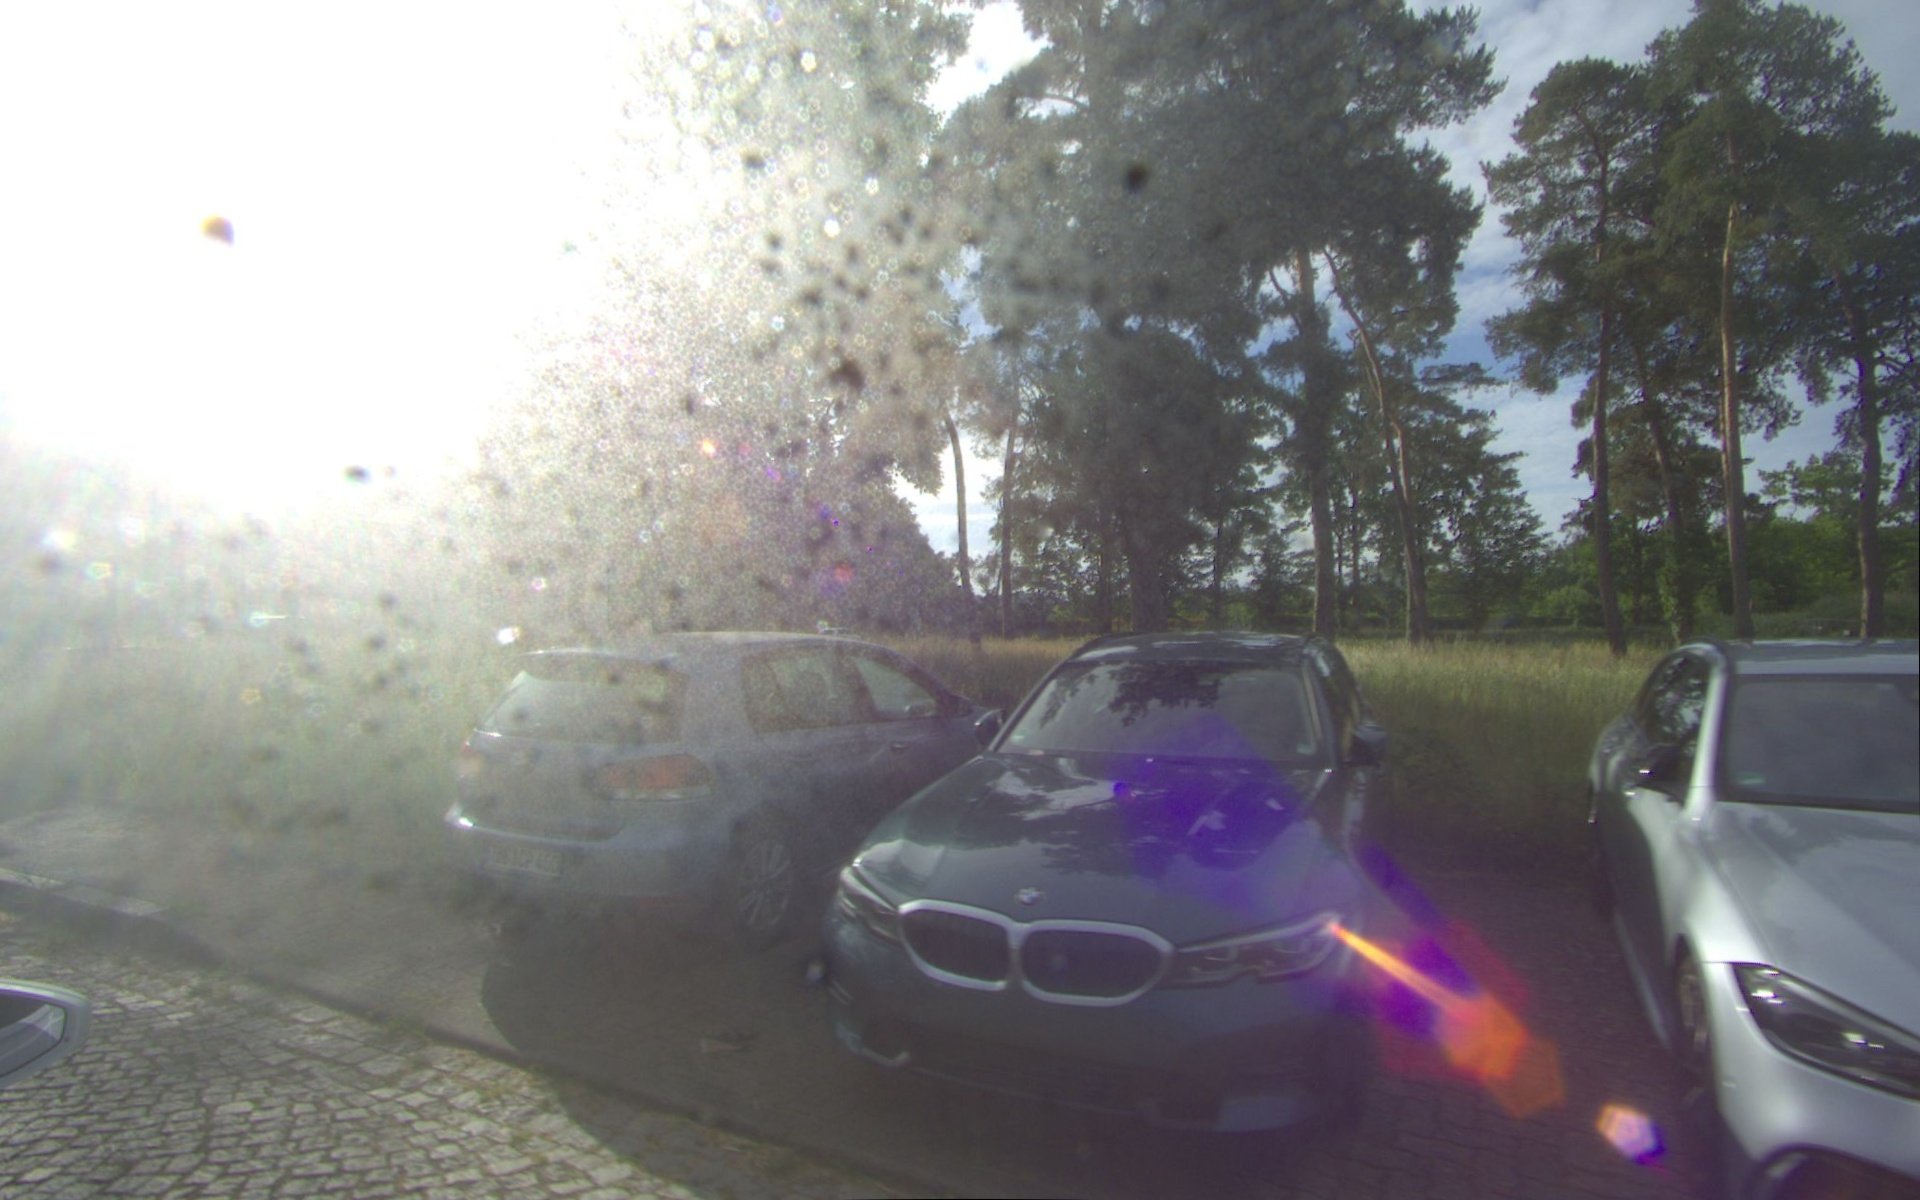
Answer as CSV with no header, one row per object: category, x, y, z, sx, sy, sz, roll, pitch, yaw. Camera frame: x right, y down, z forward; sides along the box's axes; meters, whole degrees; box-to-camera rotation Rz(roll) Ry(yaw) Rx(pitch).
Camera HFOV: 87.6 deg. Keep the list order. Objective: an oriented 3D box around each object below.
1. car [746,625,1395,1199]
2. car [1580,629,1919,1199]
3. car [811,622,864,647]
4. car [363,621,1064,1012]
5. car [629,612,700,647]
car,1.082,0.899,4.893,1.864,1.492,4.508,-1,-1,24
car,3.433,0.878,3.488,1.821,1.492,4.504,-1,-1,28
car,-8.520,2.386,69.896,1.827,1.701,3.932,-1,-2,26
car,-1.024,0.918,6.438,1.902,1.525,4.543,-1,-1,26
car,-22.678,2.267,77.049,2.230,2.568,5.154,-1,-2,29
